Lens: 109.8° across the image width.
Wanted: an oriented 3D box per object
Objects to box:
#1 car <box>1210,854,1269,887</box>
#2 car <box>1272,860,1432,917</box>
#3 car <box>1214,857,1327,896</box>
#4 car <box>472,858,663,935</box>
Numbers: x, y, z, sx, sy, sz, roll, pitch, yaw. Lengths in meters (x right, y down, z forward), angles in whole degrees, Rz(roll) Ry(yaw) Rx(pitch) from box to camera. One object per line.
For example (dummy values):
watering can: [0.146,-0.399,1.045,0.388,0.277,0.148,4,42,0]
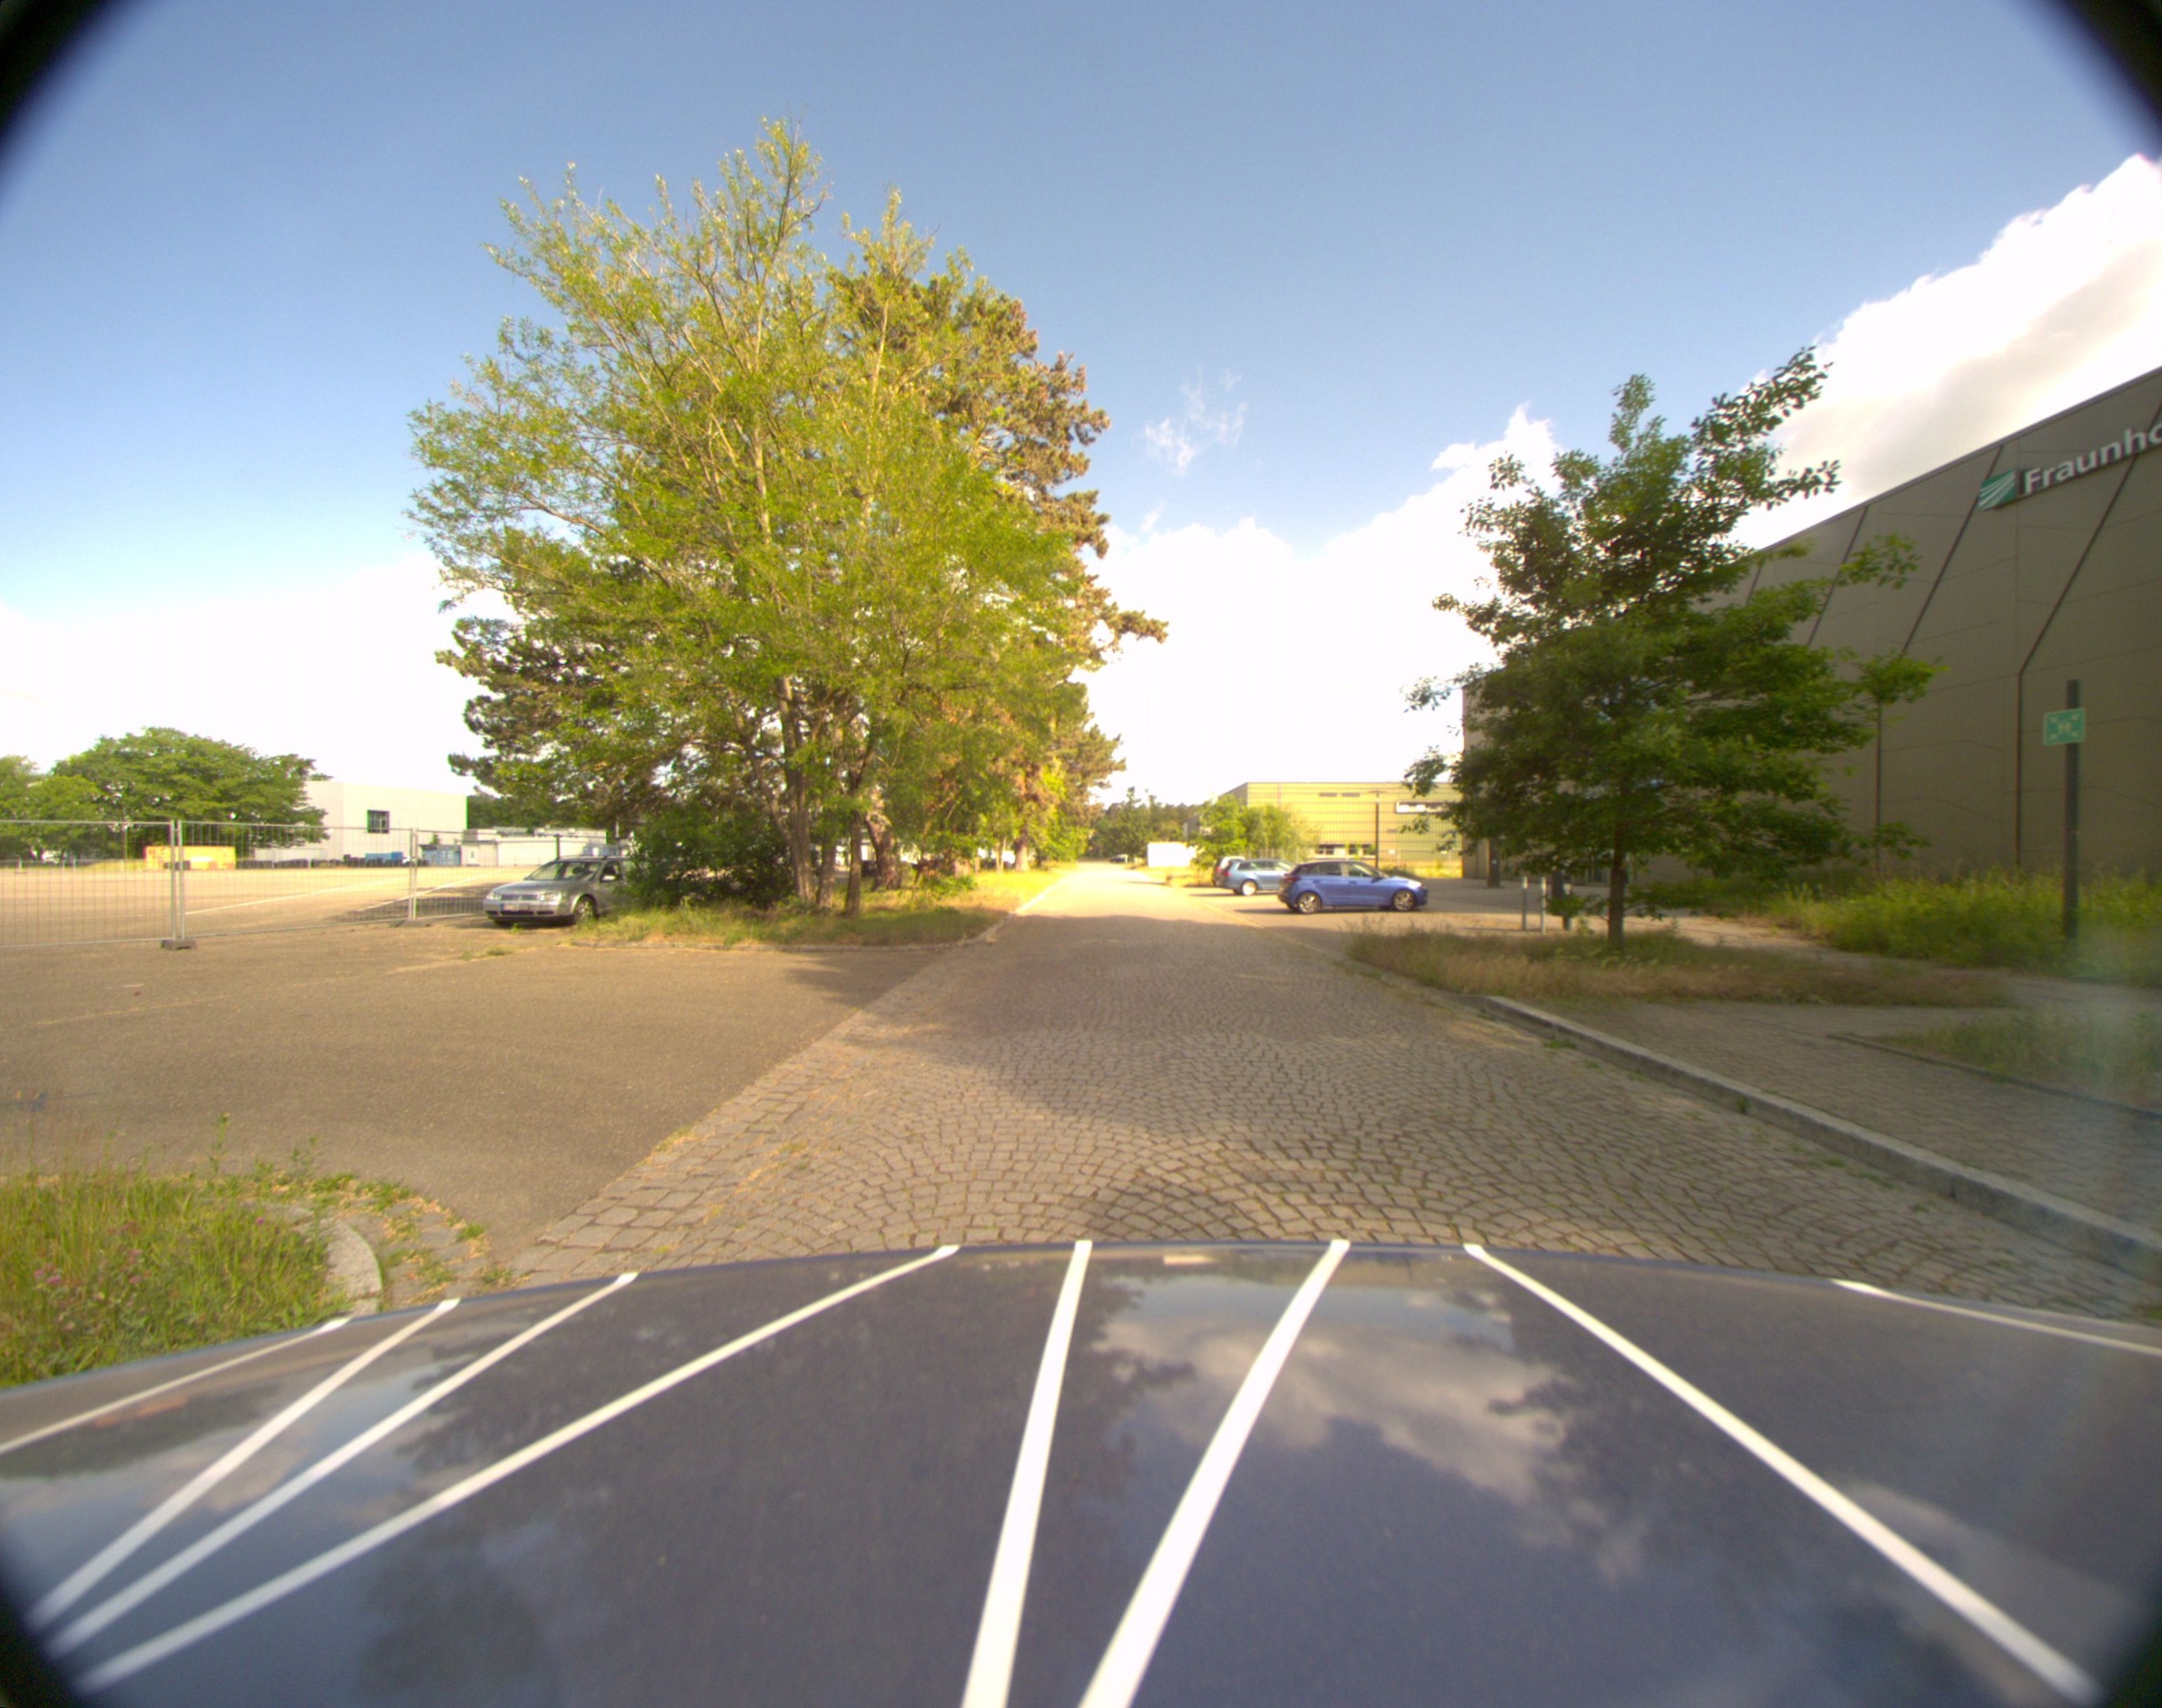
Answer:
car: [7.972,0.830,38.380,2.652,1.559,1.481,-1,0,0]
car: [7.578,0.944,21.539,3.917,1.459,1.735,-1,0,3]
car: [7.669,0.895,31.004,4.179,1.465,1.734,-1,0,-1]
car: [-10.998,0.834,16.665,1.578,1.435,3.985,0,0,-2]
